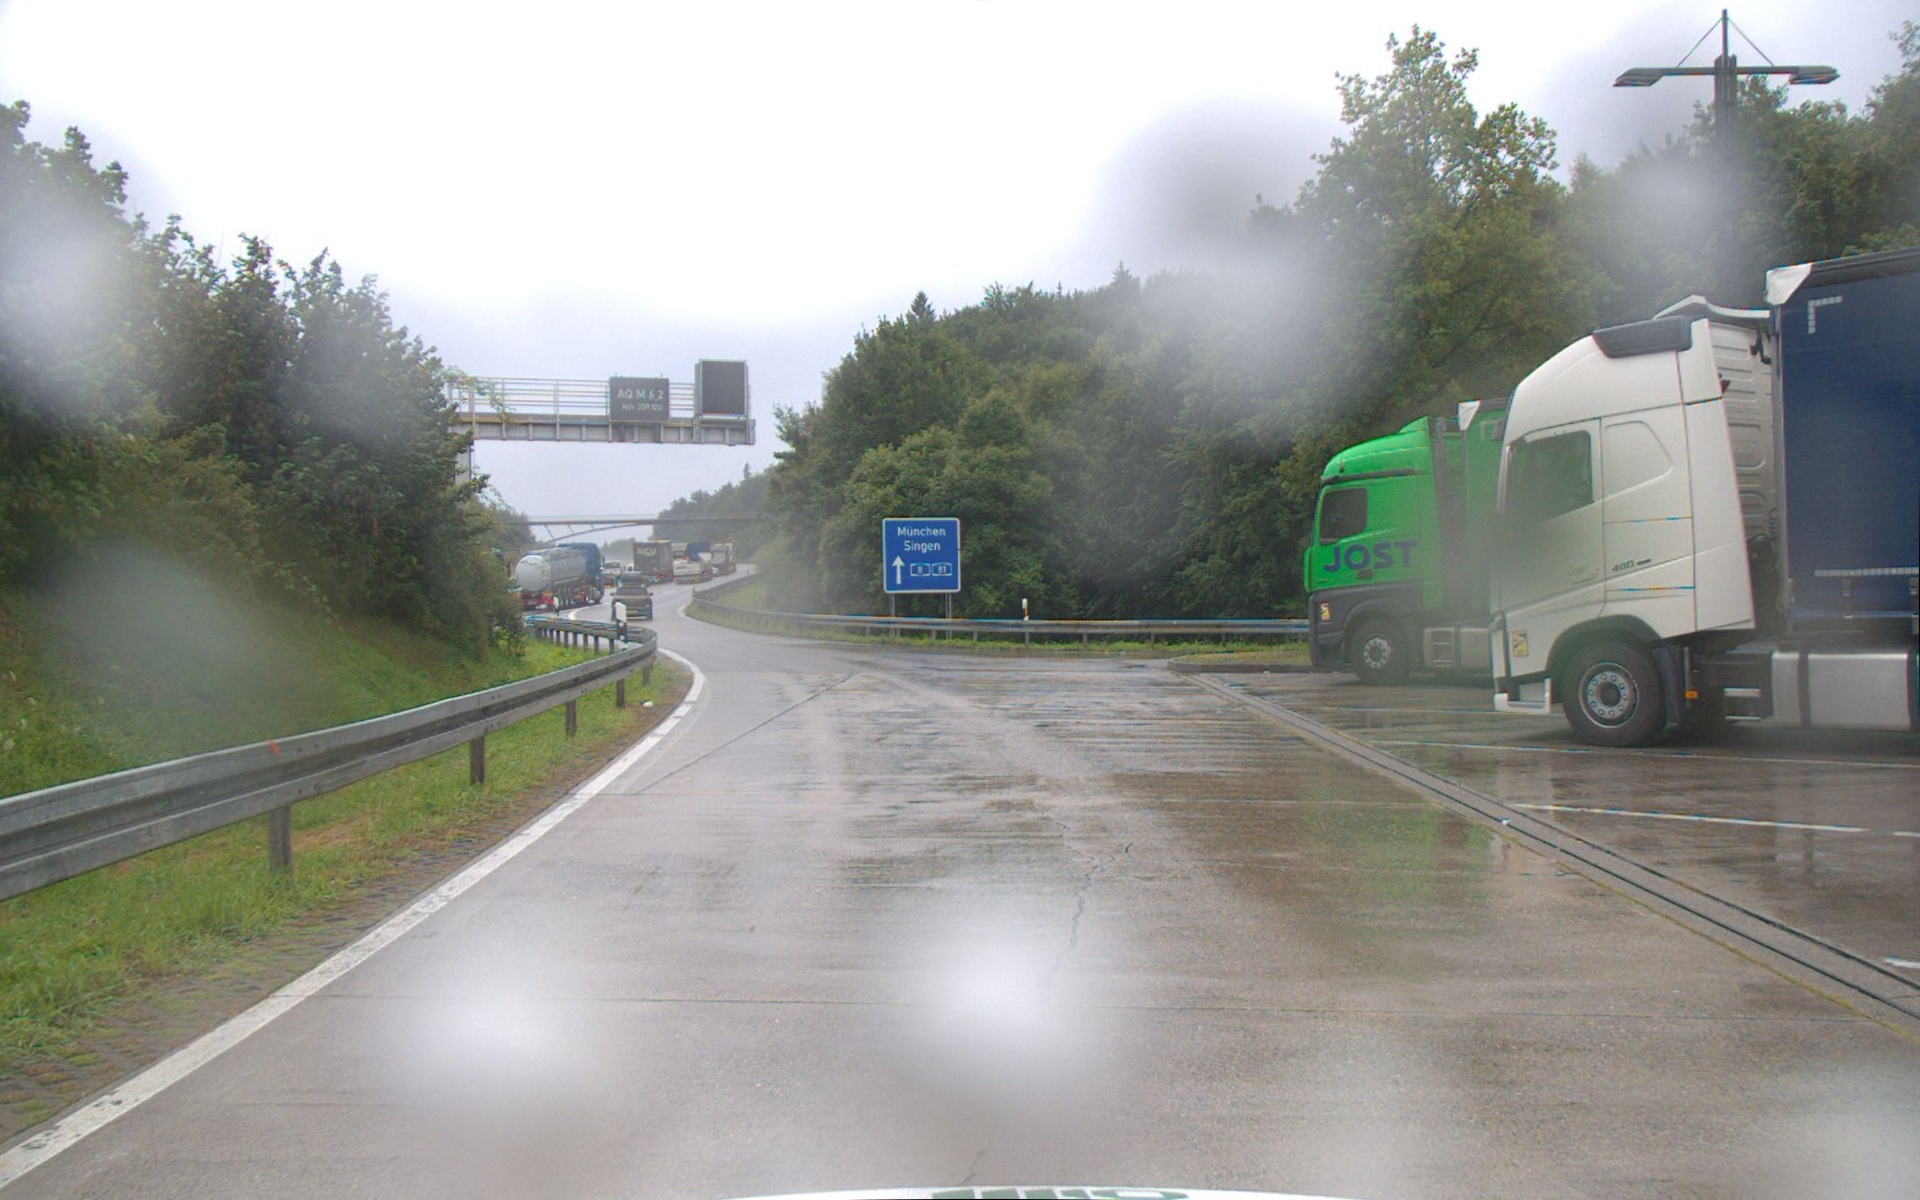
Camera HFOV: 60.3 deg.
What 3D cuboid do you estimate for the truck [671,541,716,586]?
[{"bbox_3d":[-26.053,-3.653,162.230,3.531,4.176,11.547,-2,2,-6],"label":"truck"}]

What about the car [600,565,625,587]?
[{"bbox_3d":[-32.767,-2.260,156.023,1.762,1.937,3.996,-2,0,-4],"label":"car"}]

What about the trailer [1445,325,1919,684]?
[{"bbox_3d":[12.838,-1.178,19.926,2.806,4.222,13.737,-2,0,-44],"label":"trailer"}]

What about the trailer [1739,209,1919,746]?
[{"bbox_3d":[12.387,-1.140,9.999,2.804,4.244,13.772,-2,0,-43],"label":"trailer"}]

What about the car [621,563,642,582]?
[{"bbox_3d":[-35.873,-3.015,180.737,1.763,1.937,3.996,-2,0,-5],"label":"car"}]

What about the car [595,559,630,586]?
[{"bbox_3d":[-41.545,-3.232,198.003,3.183,3.055,6.767,1,0,-4],"label":"car"}]

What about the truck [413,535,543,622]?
[{"bbox_3d":[-22.591,-1.107,78.288,2.774,3.650,11.796,-3,2,-1],"label":"truck"}]

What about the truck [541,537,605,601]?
[{"bbox_3d":[-23.952,-1.985,102.659,2.819,3.757,5.055,-2,2,-2],"label":"truck"}]

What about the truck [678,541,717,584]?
[{"bbox_3d":[-28.155,-3.998,177.803,3.440,4.342,10.589,1,0,-6],"label":"truck"}]

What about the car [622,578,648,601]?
[{"bbox_3d":[-28.648,-0.918,145.800,1.763,1.937,3.995,1,0,-5],"label":"car"}]

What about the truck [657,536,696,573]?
[{"bbox_3d":[-34.361,-5.504,201.117,3.506,4.166,10.870,-2,0,-4],"label":"truck"}]

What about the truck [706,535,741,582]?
[{"bbox_3d":[-31.538,-5.474,220.838,4.253,5.864,9.717,1,0,-6],"label":"truck"}]

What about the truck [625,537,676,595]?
[{"bbox_3d":[-30.772,-3.296,164.859,3.680,5.595,10.164,1,0,-4],"label":"truck"}]

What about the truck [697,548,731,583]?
[{"bbox_3d":[-30.018,-4.125,202.111,3.683,4.040,11.043,1,0,-7],"label":"truck"}]

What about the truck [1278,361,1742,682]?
[{"bbox_3d":[8.096,-0.998,24.831,2.807,4.222,5.898,-2,0,-45],"label":"truck"}]

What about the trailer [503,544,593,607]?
[{"bbox_3d":[-23.717,-1.535,95.798,2.816,3.345,10.077,-2,2,-2],"label":"trailer"}]

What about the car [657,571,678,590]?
[{"bbox_3d":[-30.551,-2.014,172.866,1.763,1.937,3.996,-2,0,-5],"label":"car"}]

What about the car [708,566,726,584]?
[{"bbox_3d":[-27.814,-2.826,189.290,1.763,1.937,3.996,-2,0,-5],"label":"car"}]

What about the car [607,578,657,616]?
[{"bbox_3d":[-14.871,-0.141,75.229,1.956,1.665,3.993,1,0,-8],"label":"car"}]

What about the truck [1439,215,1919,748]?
[{"bbox_3d":[7.533,-0.936,15.236,2.805,4.218,5.218,-2,0,-43],"label":"truck"}]
